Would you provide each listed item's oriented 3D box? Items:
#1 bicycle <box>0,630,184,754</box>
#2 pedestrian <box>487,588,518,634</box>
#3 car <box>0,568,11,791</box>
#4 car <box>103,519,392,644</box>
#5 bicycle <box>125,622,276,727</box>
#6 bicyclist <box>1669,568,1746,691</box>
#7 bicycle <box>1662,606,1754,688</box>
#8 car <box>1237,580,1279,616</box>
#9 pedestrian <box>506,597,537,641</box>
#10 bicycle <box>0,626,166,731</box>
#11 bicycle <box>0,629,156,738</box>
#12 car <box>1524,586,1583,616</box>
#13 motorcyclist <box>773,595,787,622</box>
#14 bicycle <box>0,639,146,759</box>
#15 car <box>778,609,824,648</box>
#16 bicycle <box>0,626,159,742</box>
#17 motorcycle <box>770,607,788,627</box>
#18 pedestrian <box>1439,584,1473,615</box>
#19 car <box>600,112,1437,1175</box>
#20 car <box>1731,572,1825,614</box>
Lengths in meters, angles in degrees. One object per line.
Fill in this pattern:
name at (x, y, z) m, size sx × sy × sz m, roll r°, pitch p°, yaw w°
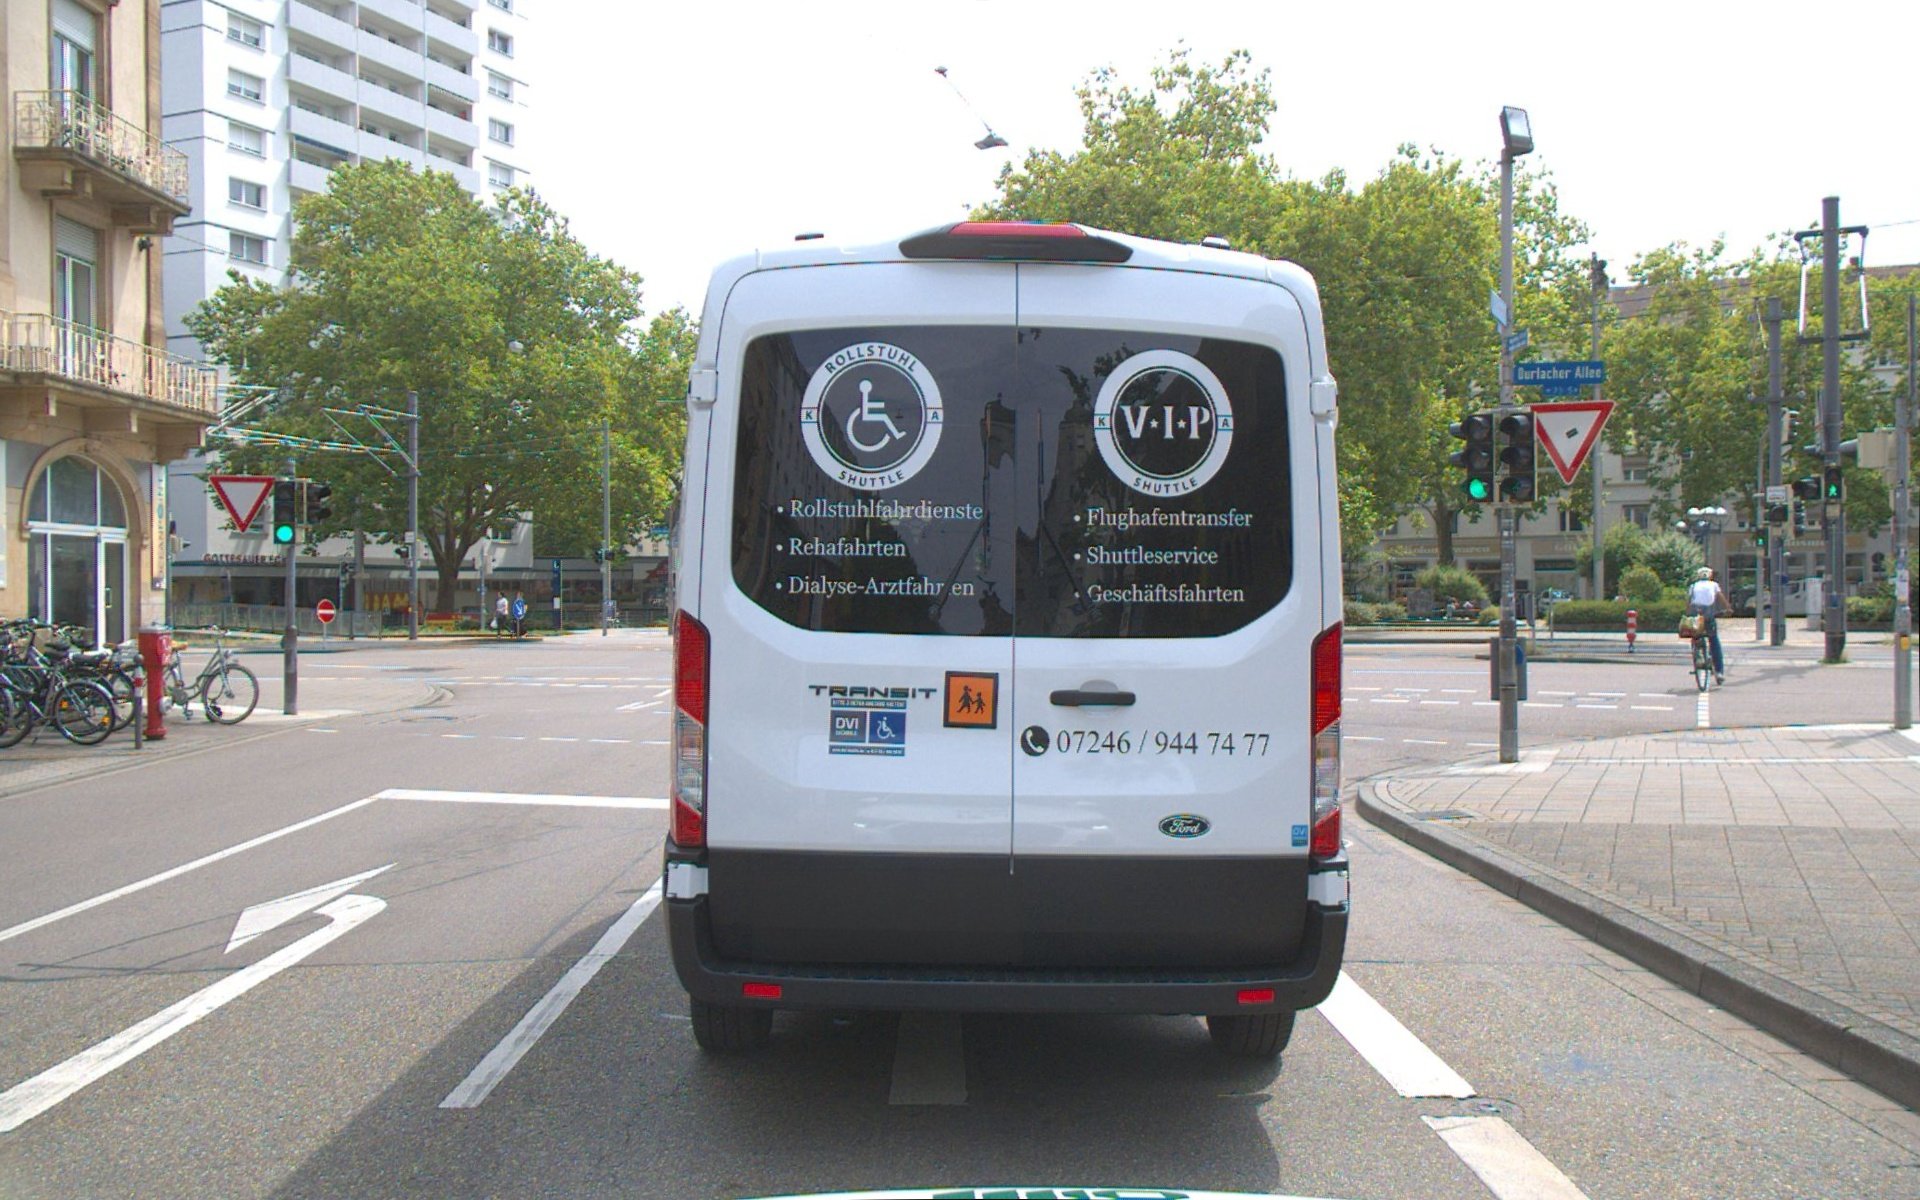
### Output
bicycle at (-9.043, 0.937, 17.046) m, size 1.771 × 1.140 × 0.594 m, roll 3°, pitch 0°, yaw 3°
pedestrian at (-16.092, 0.385, 58.130) m, size 0.795 × 1.600 × 0.720 m, roll 0°, pitch 0°, yaw 41°
car at (-9.783, 0.661, 12.837) m, size 3.974 × 1.804 × 1.771 m, roll -1°, pitch 1°, yaw -40°
car at (-24.416, -0.596, 56.606) m, size 9.686 × 3.984 × 3.454 m, roll 0°, pitch 0°, yaw 24°
bicycle at (-9.280, 0.897, 20.206) m, size 1.836 × 1.187 × 0.498 m, roll 2°, pitch 0°, yaw 20°
bicyclist at (10.671, 0.410, 23.614) m, size 0.888 × 1.713 × 0.754 m, roll 0°, pitch 0°, yaw 34°
bicycle at (10.703, 0.643, 23.629) m, size 0.887 × 1.094 × 1.964 m, roll 0°, pitch 1°, yaw 34°
car at (17.130, -0.135, 95.222) m, size 1.951 × 1.964 × 4.002 m, roll -1°, pitch 0°, yaw 4°
pedestrian at (-15.714, 0.667, 59.261) m, size 0.717 × 1.541 × 0.919 m, roll -1°, pitch 0°, yaw -41°
bicycle at (-10.213, 0.902, 19.075) m, size 1.775 × 1.140 × 0.593 m, roll 2°, pitch 0°, yaw -9°
bicycle at (-10.000, 0.923, 18.381) m, size 1.775 × 1.140 × 0.593 m, roll 2°, pitch 0°, yaw -9°
car at (31.759, 0.038, 88.665) m, size 1.951 × 1.529 × 4.002 m, roll -1°, pitch 0°, yaw 4°
motorcyclist at (-9.336, 0.436, 85.886) m, size 0.669 × 1.420 × 0.681 m, roll -1°, pitch 0°, yaw -1°
bicycle at (-9.080, 0.975, 16.374) m, size 1.771 × 1.140 × 0.594 m, roll -1°, pitch 0°, yaw 6°
car at (-6.687, 1.190, 69.775) m, size 1.559 × 1.534 × 3.807 m, roll -1°, pitch 0°, yaw 0°
bicycle at (-9.669, 0.896, 17.775) m, size 1.775 × 1.186 × 0.593 m, roll 2°, pitch 0°, yaw -9°
motorcycle at (-9.343, 0.851, 85.265) m, size 0.669 × 0.988 × 2.323 m, roll -1°, pitch 0°, yaw 0°
pedestrian at (21.212, -0.012, 70.728) m, size 1.068 × 1.257 × 1.441 m, roll -2°, pitch -1°, yaw 4°
car at (0.079, 0.071, 6.550) m, size 2.138 × 2.694 × 4.627 m, roll 0°, pitch 1°, yaw -2°
car at (39.269, -0.336, 79.508) m, size 3.907 × 1.916 × 1.857 m, roll -1°, pitch 0°, yaw 24°
